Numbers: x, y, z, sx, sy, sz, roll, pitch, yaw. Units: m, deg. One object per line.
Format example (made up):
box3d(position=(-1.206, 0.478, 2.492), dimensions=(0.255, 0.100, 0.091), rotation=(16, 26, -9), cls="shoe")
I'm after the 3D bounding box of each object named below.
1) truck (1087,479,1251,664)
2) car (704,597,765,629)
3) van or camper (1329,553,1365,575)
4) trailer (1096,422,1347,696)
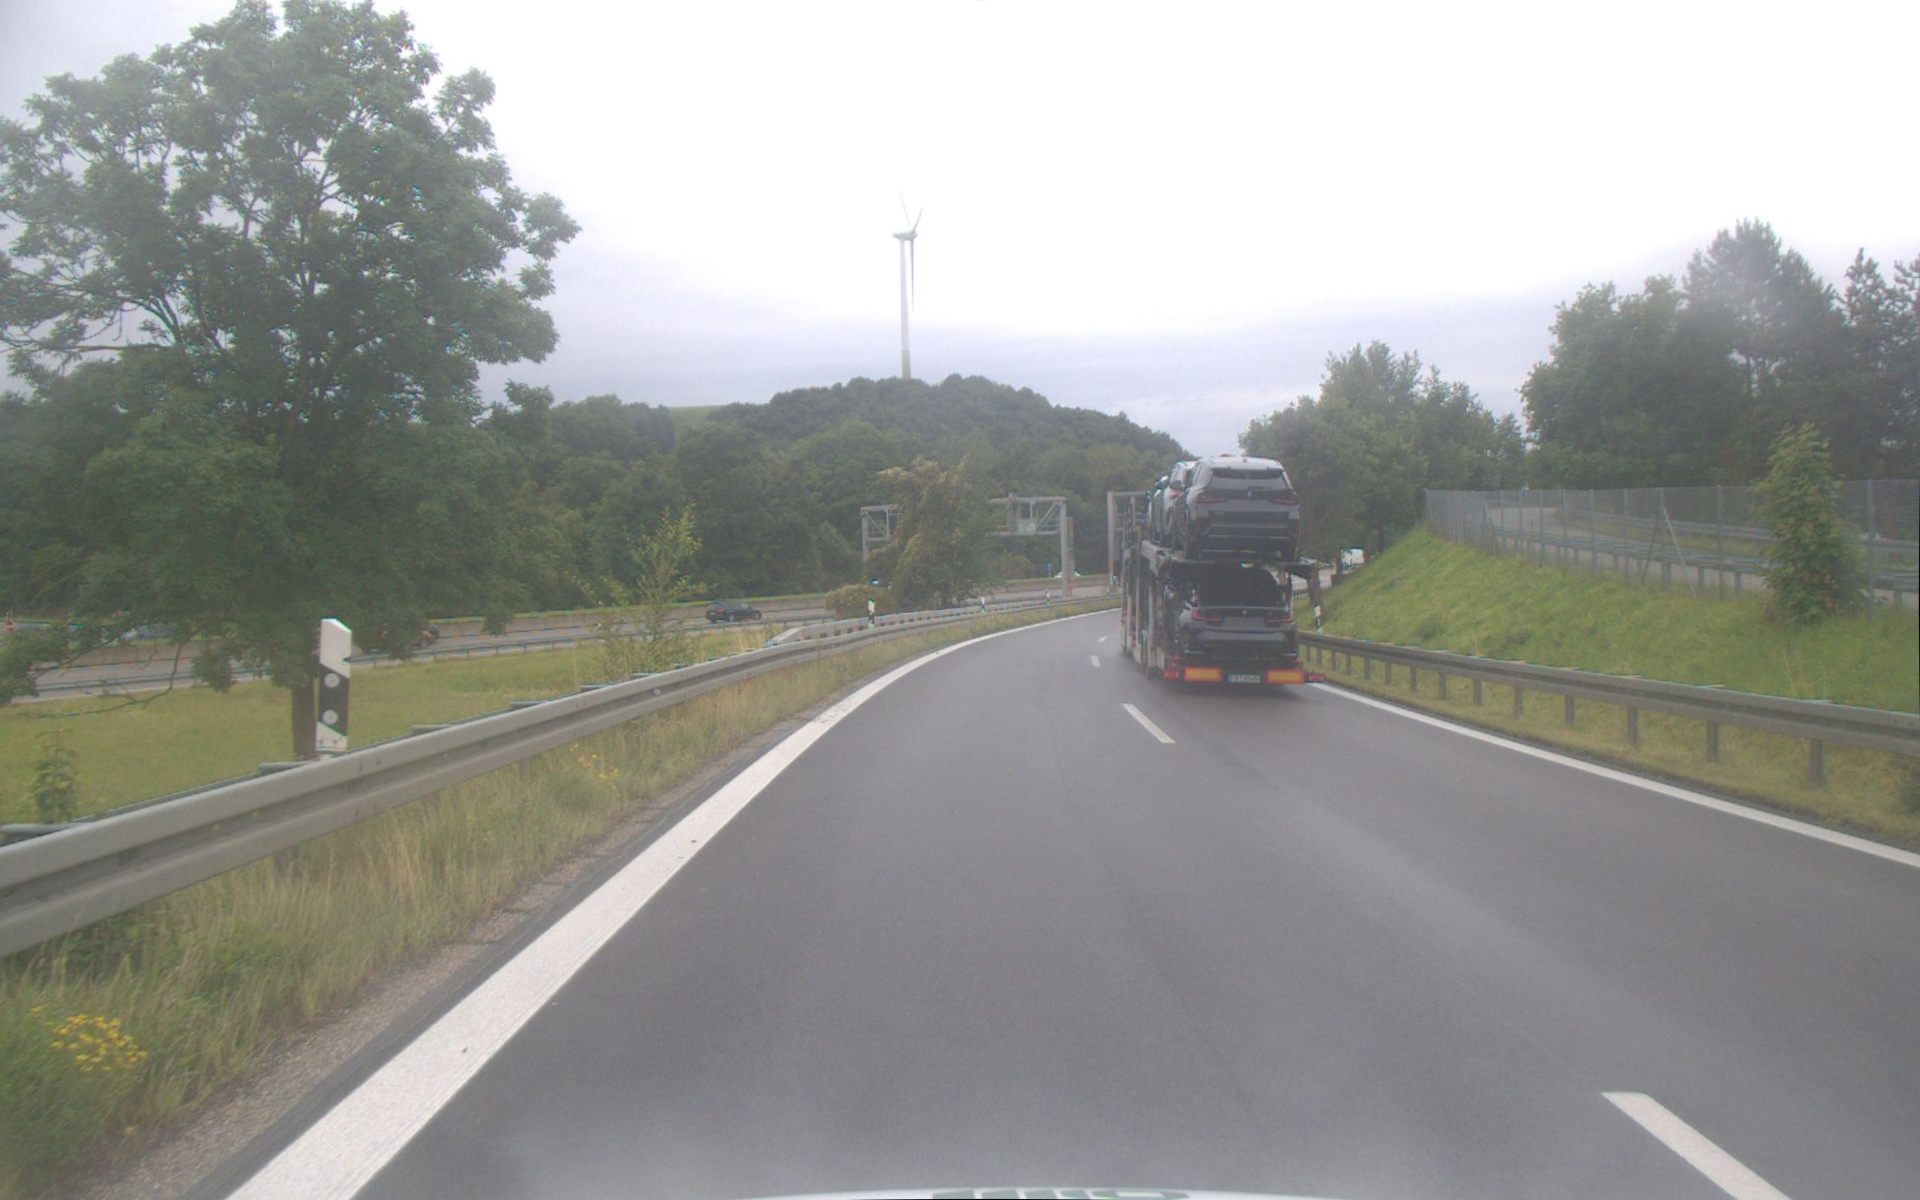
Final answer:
box3d(position=(5.091, -0.643, 42.510), dimensions=(3.324, 4.069, 10.851), rotation=(2, 0, 3), cls="truck")
box3d(position=(-15.731, 0.900, 115.517), dimensions=(1.959, 1.746, 3.989), rotation=(-6, 1, 34), cls="car")
box3d(position=(36.567, -3.365, 156.165), dimensions=(1.957, 2.049, 4.574), rotation=(-1, 0, 32), cls="van or camper")
box3d(position=(4.456, -0.631, 31.110), dimensions=(3.377, 4.069, 12.031), rotation=(2, 0, 3), cls="trailer")
